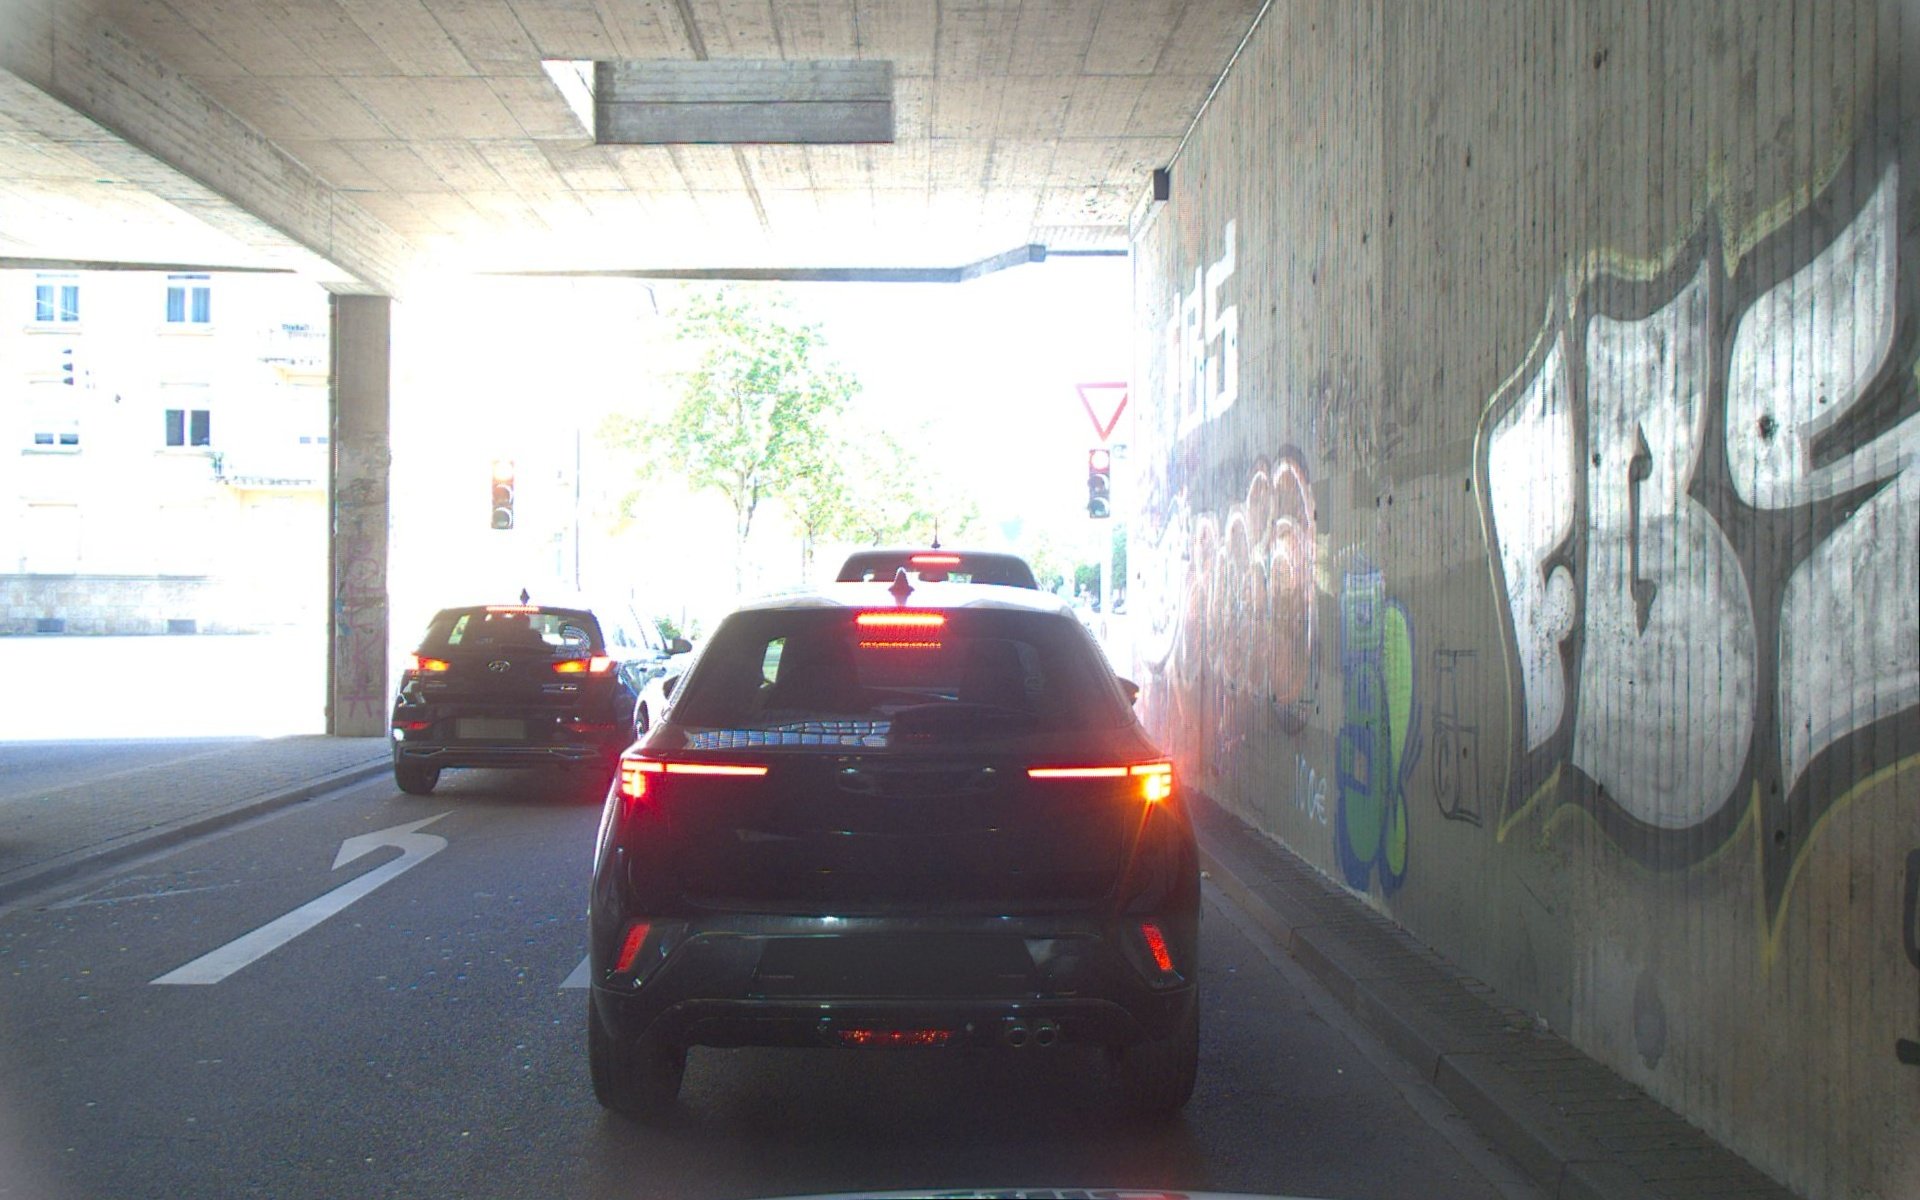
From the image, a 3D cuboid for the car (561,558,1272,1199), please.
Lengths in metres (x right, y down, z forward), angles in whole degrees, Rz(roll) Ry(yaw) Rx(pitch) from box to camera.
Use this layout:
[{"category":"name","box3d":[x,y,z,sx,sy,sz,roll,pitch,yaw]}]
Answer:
[{"category":"car","box3d":[-0.130,0.678,6.080,1.726,1.558,4.088,0,0,-1]}]

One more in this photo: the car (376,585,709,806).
[{"category":"car","box3d":[-3.140,0.650,13.223,1.726,1.506,3.843,0,0,-1]}]

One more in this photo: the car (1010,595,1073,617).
[{"category":"car","box3d":[6.603,0.520,133.860,4.732,1.696,1.812,1,0,-22]}]

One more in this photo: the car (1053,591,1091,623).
[{"category":"car","box3d":[6.112,0.371,90.168,1.716,1.696,3.947,1,0,8]}]

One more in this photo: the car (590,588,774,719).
[{"category":"car","box3d":[-3.411,0.612,20.943,1.726,1.506,3.843,0,0,-1]}]

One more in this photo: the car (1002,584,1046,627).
[{"category":"car","box3d":[2.678,0.215,68.345,1.717,1.696,3.946,1,0,3]}]

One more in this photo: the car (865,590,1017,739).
[{"category":"car","box3d":[-0.229,0.663,19.239,1.576,1.539,4.053,0,0,-1]}]

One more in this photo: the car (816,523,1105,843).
[{"category":"car","box3d":[-0.024,0.496,12.025,1.726,1.915,4.145,0,0,-1]}]

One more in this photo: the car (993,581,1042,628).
[{"category":"car","box3d":[2.189,0.180,62.219,1.717,1.696,3.946,1,0,3]}]
